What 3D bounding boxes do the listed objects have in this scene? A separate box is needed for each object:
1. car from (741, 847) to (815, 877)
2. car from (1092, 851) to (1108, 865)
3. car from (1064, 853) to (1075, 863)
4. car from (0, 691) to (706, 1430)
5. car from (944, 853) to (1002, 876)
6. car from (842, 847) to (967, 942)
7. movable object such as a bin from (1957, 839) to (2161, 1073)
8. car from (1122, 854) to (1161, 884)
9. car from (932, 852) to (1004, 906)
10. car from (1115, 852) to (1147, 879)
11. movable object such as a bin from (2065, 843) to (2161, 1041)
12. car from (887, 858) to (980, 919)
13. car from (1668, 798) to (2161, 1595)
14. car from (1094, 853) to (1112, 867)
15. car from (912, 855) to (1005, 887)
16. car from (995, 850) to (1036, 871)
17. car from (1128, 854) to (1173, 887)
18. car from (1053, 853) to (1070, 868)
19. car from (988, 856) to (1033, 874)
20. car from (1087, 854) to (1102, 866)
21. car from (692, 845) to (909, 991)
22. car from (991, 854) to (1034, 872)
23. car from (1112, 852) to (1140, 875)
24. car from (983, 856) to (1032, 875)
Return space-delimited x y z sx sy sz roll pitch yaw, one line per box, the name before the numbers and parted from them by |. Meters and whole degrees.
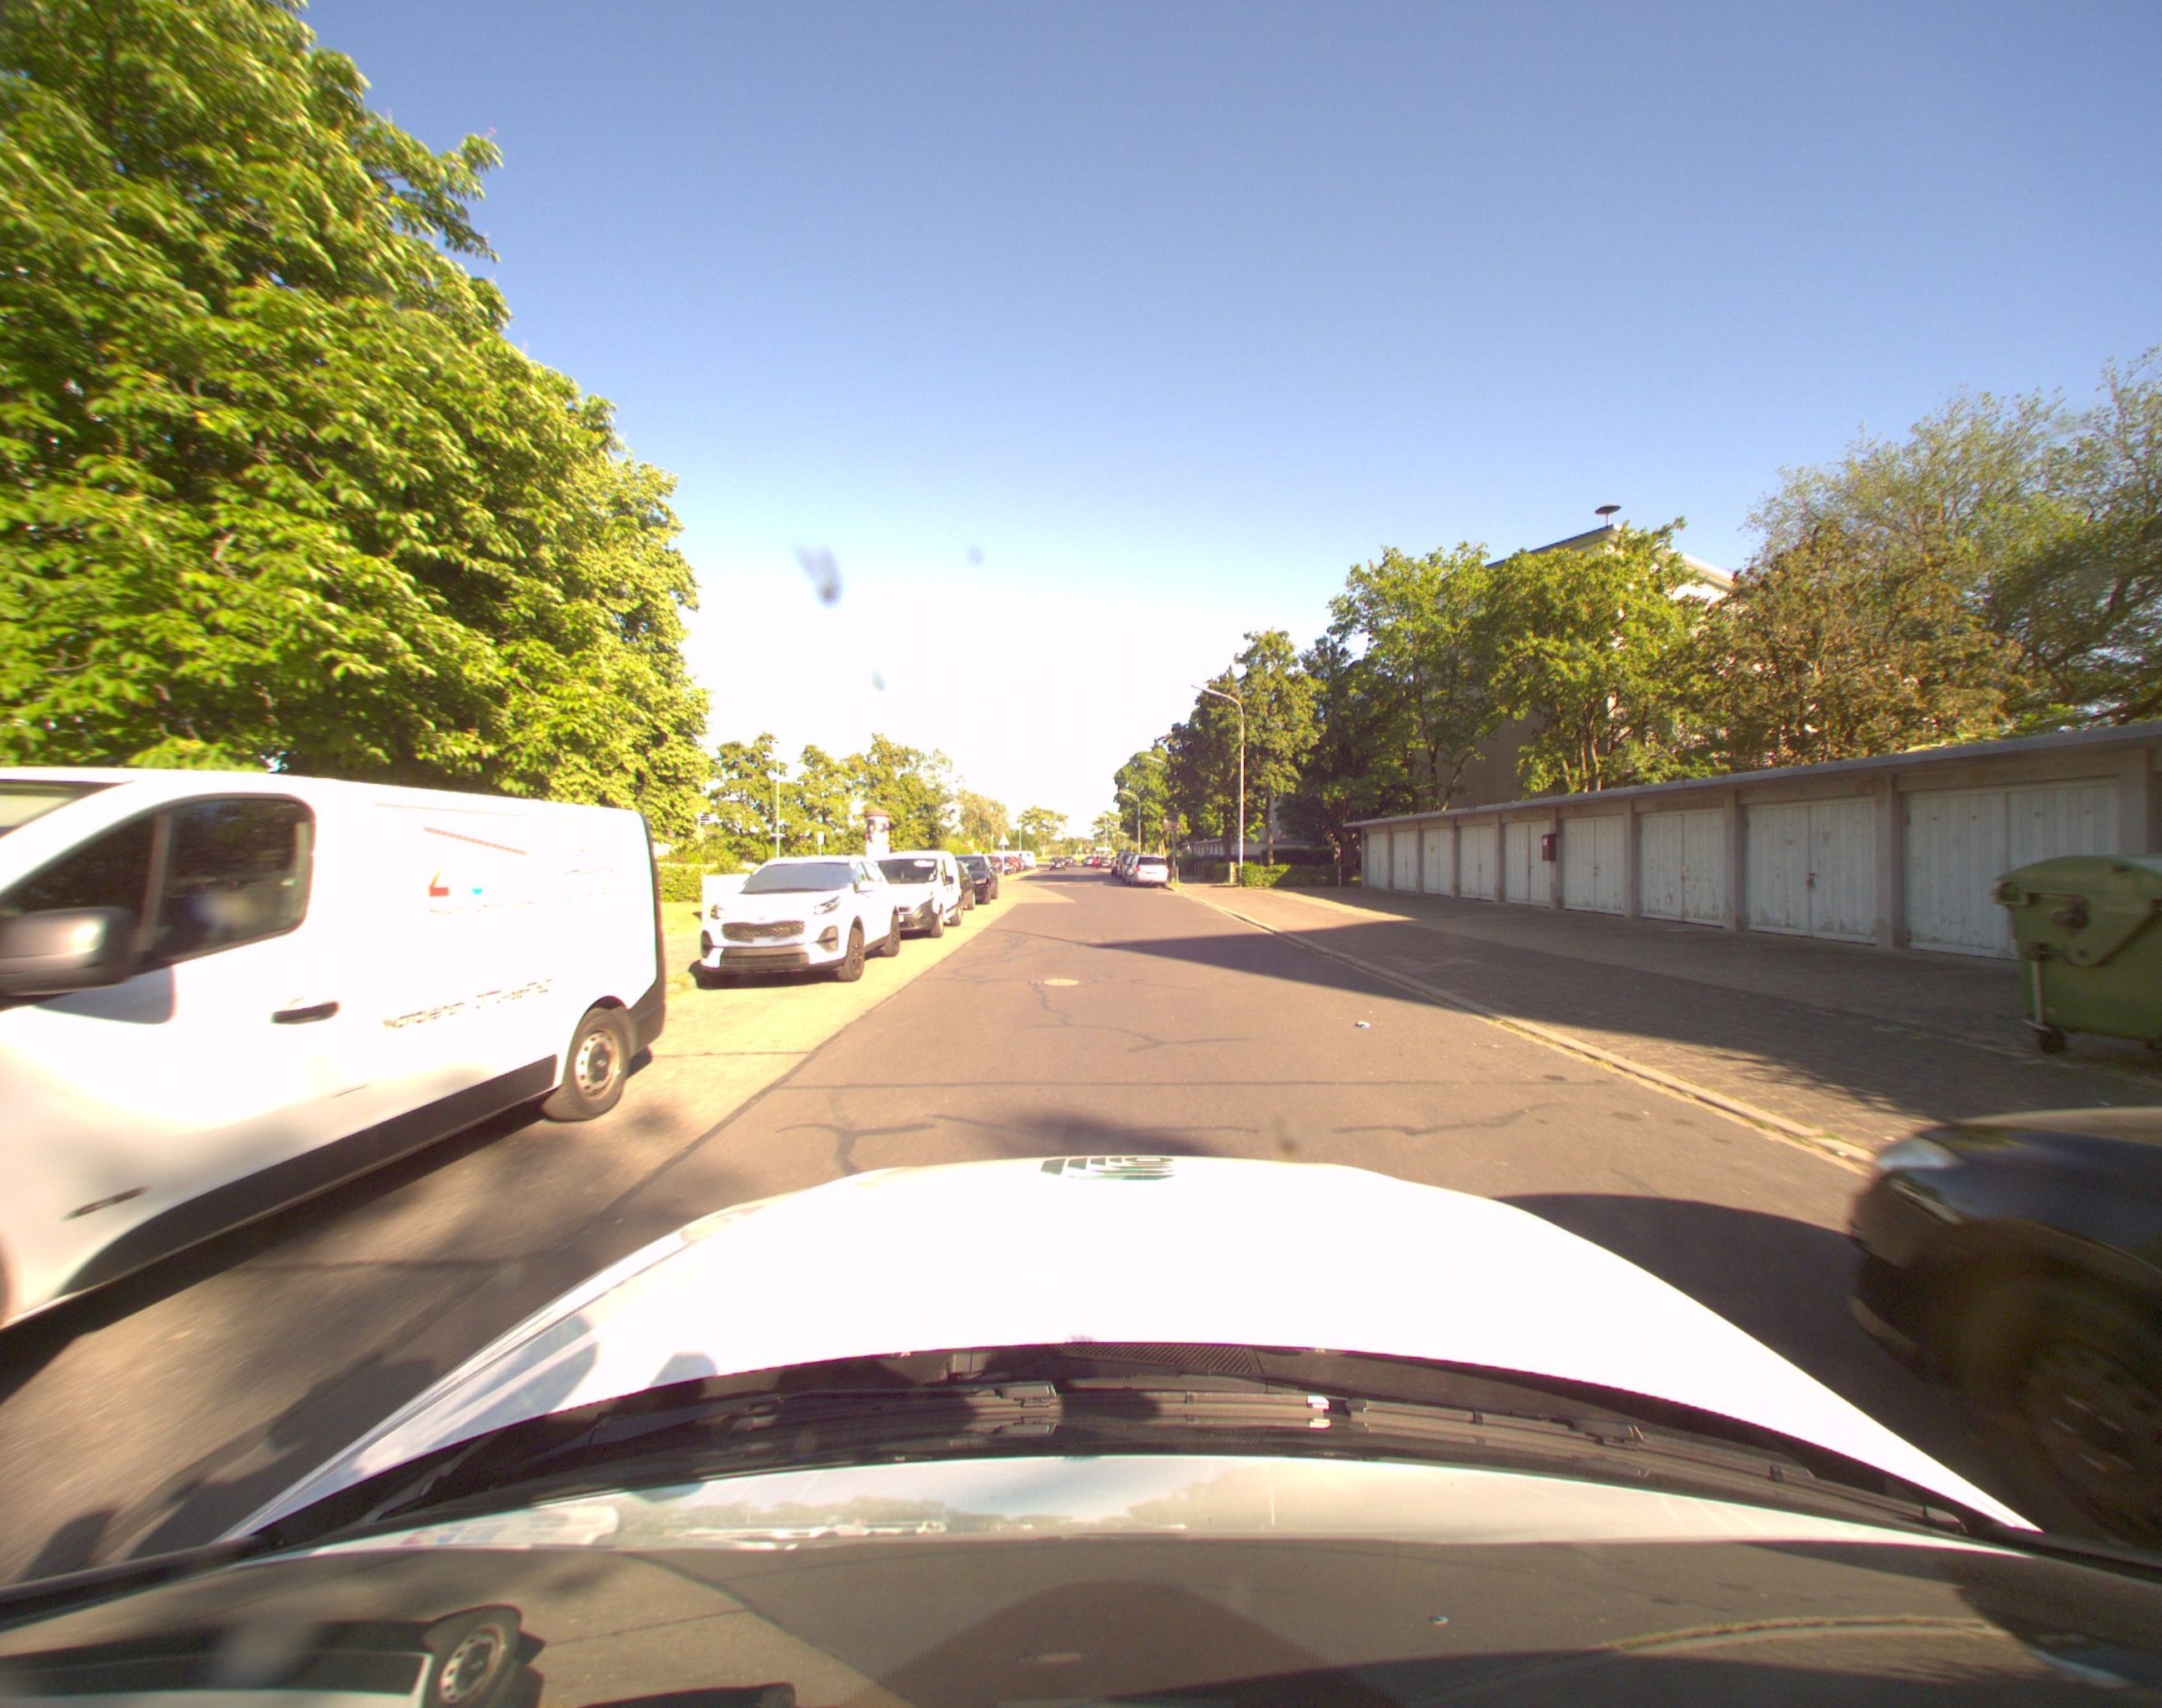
car | -16.651 0.454 44.839 3.492 1.561 1.605 1 0 -5
car | 2.360 0.519 103.174 1.791 1.643 3.948 1 0 -2
car | -1.880 0.701 131.987 1.675 1.513 4.101 2 0 -2
car | -3.819 0.565 3.575 1.908 1.962 5.087 -1 0 0
car | -7.828 0.741 59.312 4.047 1.561 1.798 1 0 -5
car | -3.585 0.762 17.266 1.741 1.732 4.005 -1 0 0
movable object such as a bin | 7.191 0.636 5.645 0.914 1.454 1.232 0 0 0
car | 3.364 0.816 45.959 1.791 1.561 3.948 1 0 -2
car | -3.699 0.774 27.300 1.741 1.613 4.307 -1 0 0
car | 3.442 0.756 56.506 1.791 1.786 3.948 1 0 -2
movable object such as a bin | 8.400 0.647 6.060 0.914 1.454 1.026 0 0 0
car | -3.911 0.870 22.304 1.741 1.478 4.152 -1 0 0
car | 3.029 0.666 0.742 1.902 1.531 4.327 1 0 0
car | 2.594 0.692 95.833 1.791 1.548 3.948 1 0 -2
car | -5.982 0.824 39.951 4.386 1.436 1.837 -1 0 -10
car | -6.643 0.658 82.601 4.047 1.992 1.798 1 0 -5
car | 3.405 0.797 40.608 1.791 1.561 3.948 1 0 -2
car | -2.133 0.712 88.252 1.791 1.561 3.948 1 0 -2
car | -6.423 1.032 74.127 4.047 1.561 1.798 1 0 -5
car | 1.864 0.821 113.213 1.791 1.643 3.948 1 0 -2
car | -3.738 0.750 11.721 1.742 1.669 4.374 -1 0 -3
car | -6.474 0.854 77.231 4.047 1.561 1.798 1 0 -5
car | 3.354 0.694 61.157 1.791 1.643 3.948 1 0 -2
car | -6.303 1.005 70.062 4.047 1.561 1.798 1 0 -5
